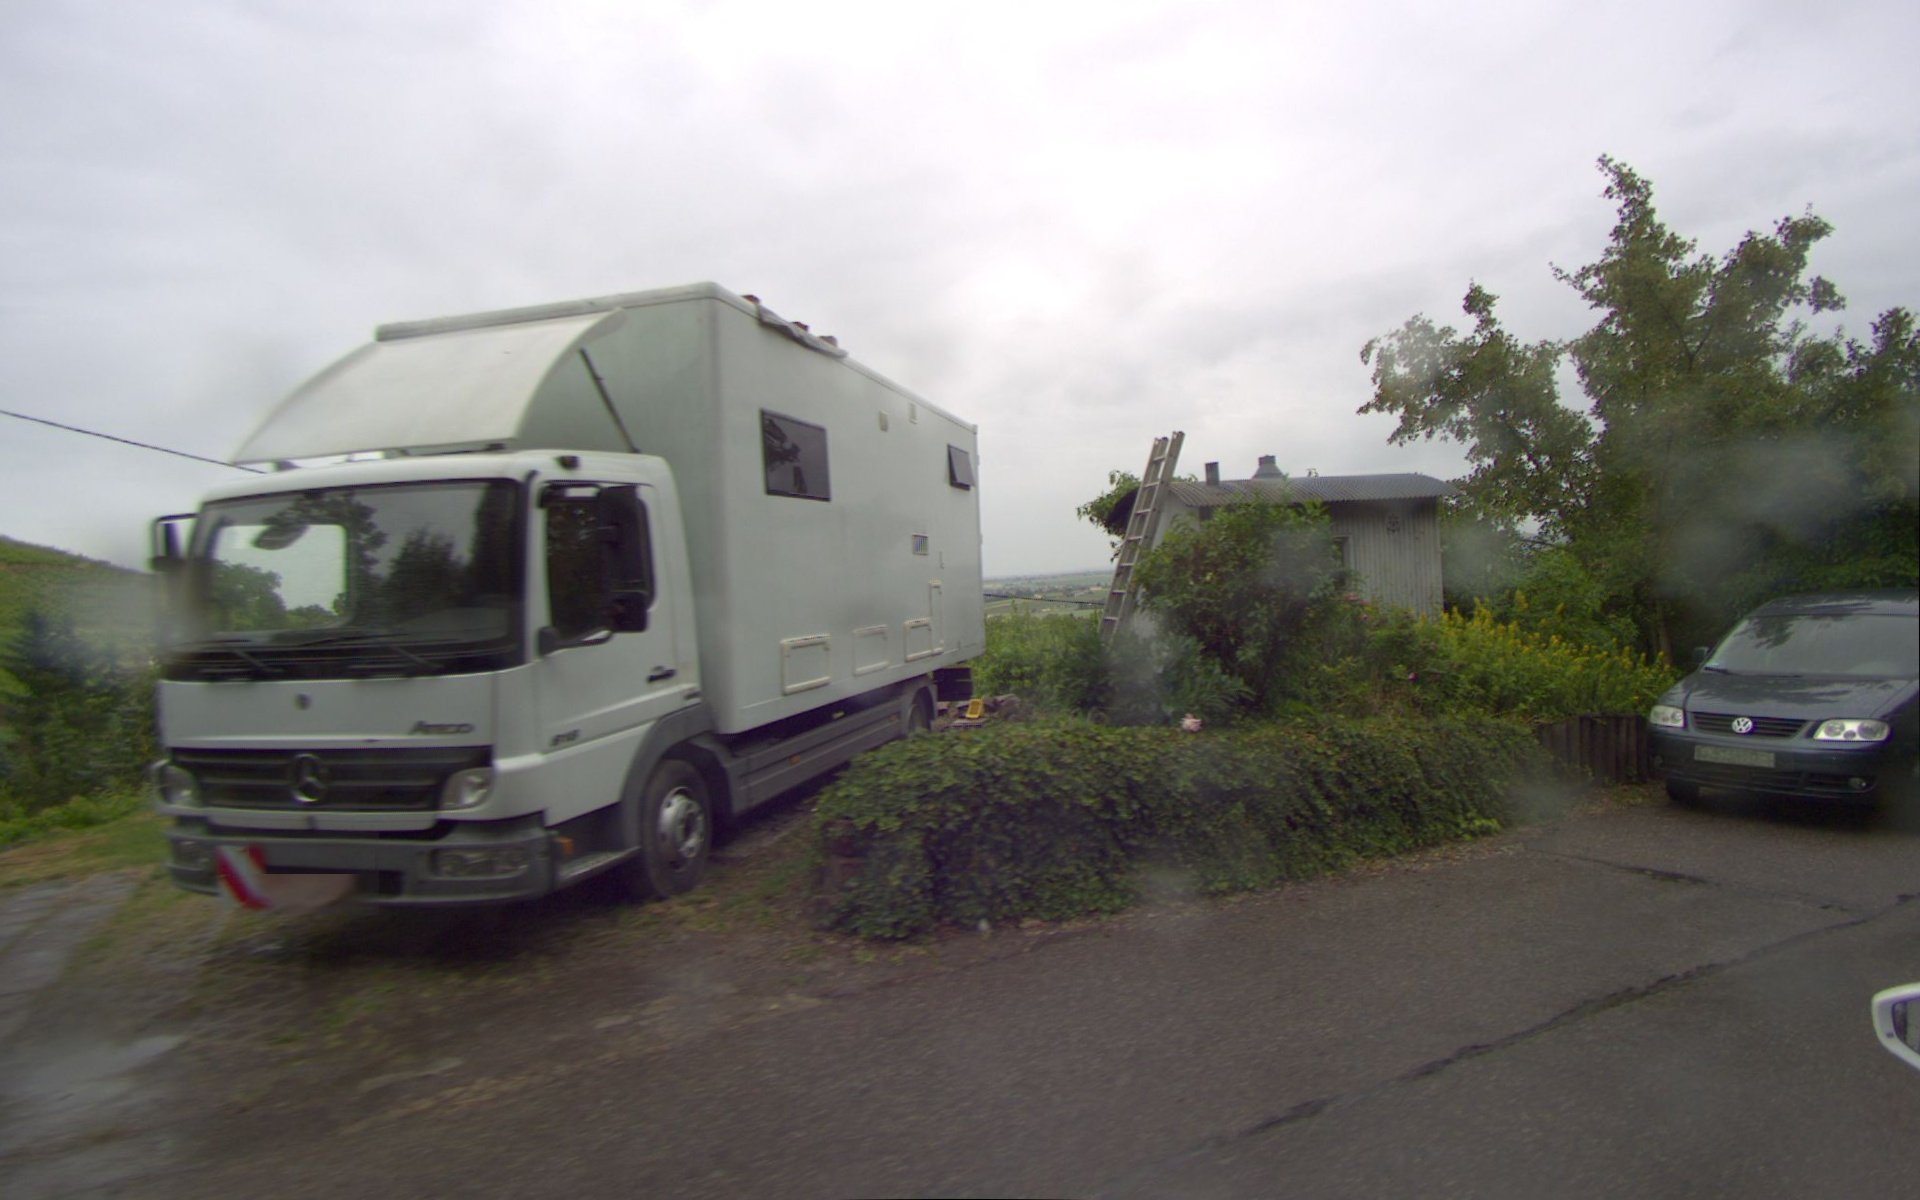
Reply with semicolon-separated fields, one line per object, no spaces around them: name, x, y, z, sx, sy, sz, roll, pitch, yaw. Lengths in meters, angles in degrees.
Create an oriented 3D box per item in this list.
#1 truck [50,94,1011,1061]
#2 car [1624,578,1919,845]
truck;-1.869;-0.275;8.277;2.620;3.862;8.132;3;3;16
car;7.685;0.782;8.574;4.182;1.806;1.682;0;-1;-30
